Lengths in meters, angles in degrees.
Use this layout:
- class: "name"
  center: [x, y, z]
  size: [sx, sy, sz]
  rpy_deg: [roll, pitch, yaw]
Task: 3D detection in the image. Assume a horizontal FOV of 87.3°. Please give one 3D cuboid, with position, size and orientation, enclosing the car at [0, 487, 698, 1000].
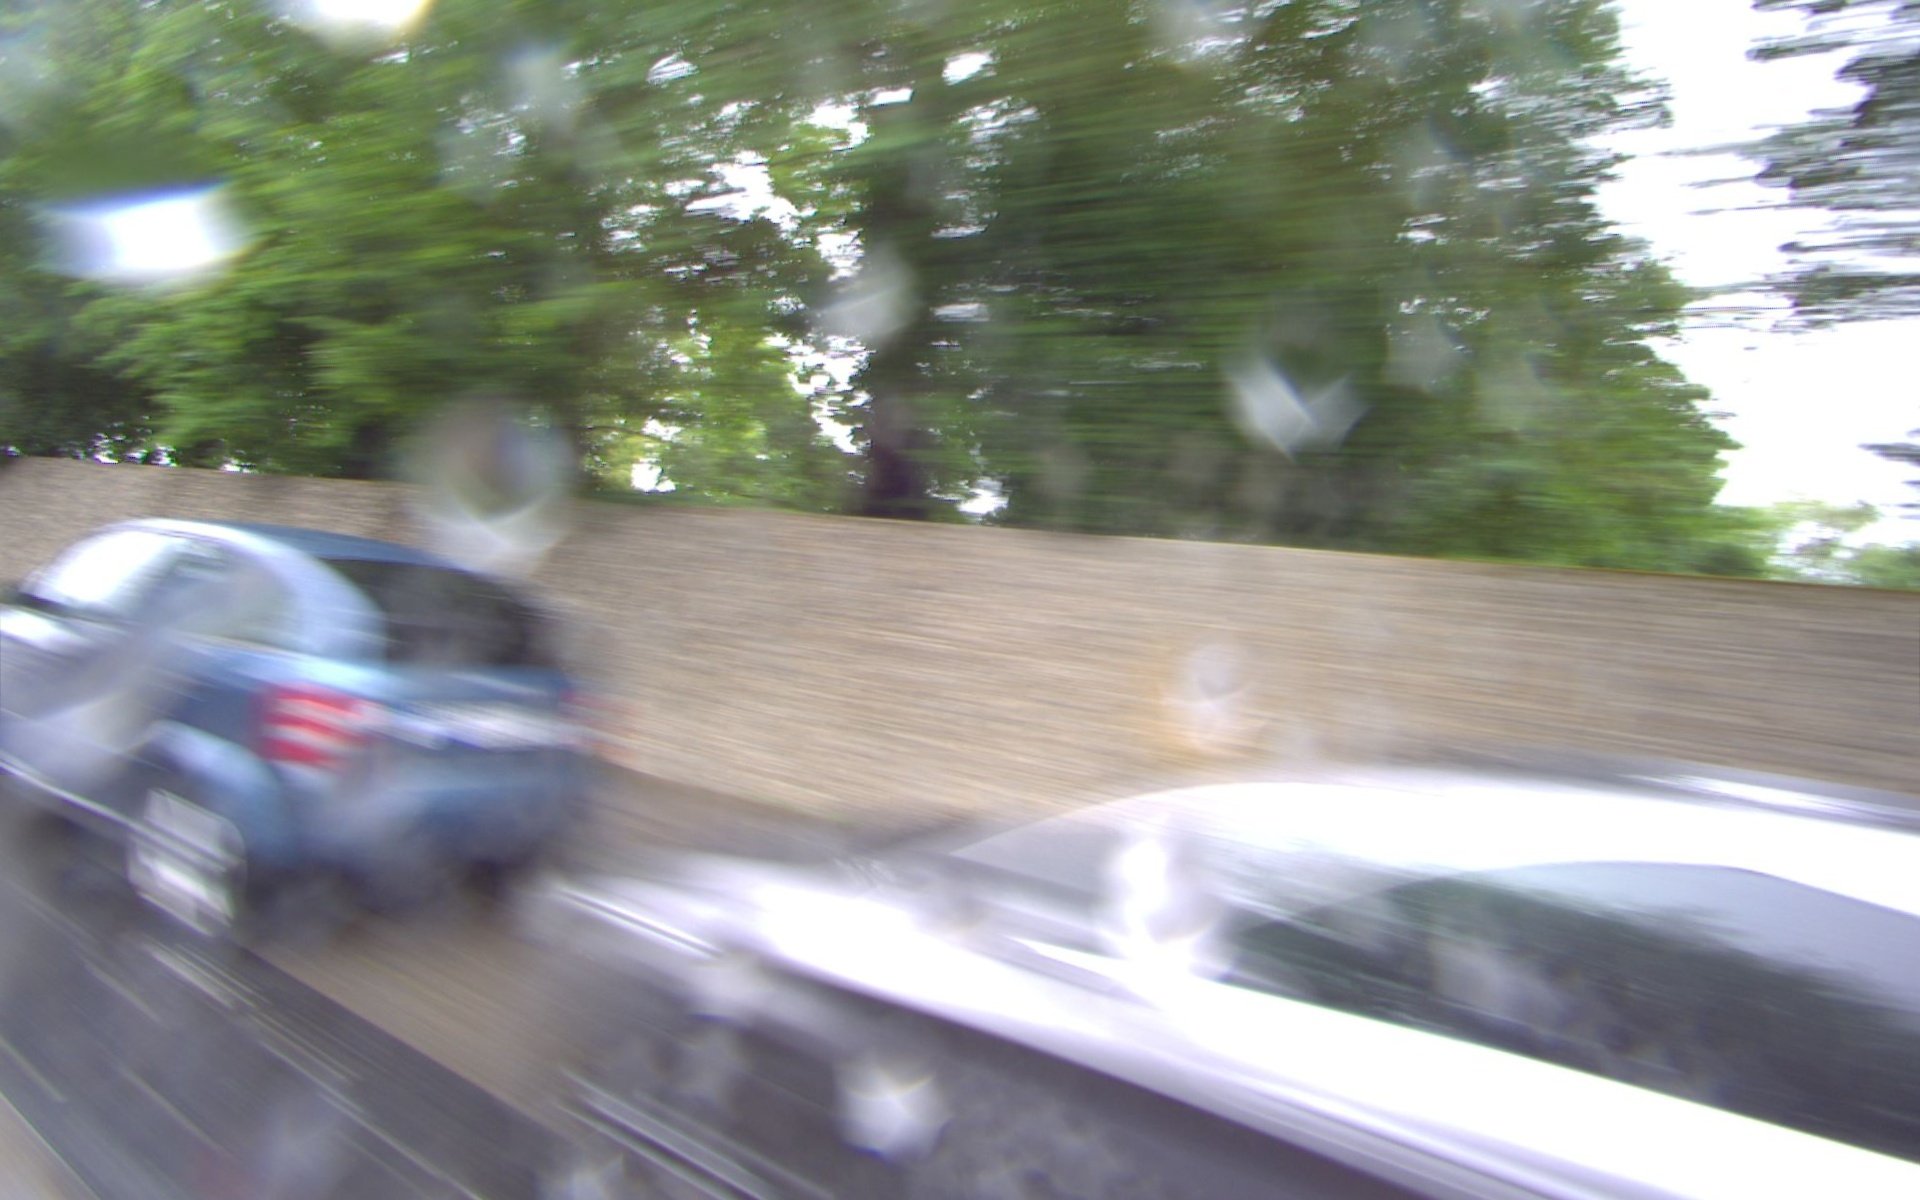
- class: "car"
  center: [-3.383, 0.419, 4.982]
  size: [3.736, 1.550, 1.793]
  rpy_deg: [7, -2, 31]

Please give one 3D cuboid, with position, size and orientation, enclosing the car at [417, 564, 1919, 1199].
- class: "car"
  center: [1.122, 0.945, 2.208]
  size: [4.409, 1.435, 1.998]
  rpy_deg: [7, -2, 31]
